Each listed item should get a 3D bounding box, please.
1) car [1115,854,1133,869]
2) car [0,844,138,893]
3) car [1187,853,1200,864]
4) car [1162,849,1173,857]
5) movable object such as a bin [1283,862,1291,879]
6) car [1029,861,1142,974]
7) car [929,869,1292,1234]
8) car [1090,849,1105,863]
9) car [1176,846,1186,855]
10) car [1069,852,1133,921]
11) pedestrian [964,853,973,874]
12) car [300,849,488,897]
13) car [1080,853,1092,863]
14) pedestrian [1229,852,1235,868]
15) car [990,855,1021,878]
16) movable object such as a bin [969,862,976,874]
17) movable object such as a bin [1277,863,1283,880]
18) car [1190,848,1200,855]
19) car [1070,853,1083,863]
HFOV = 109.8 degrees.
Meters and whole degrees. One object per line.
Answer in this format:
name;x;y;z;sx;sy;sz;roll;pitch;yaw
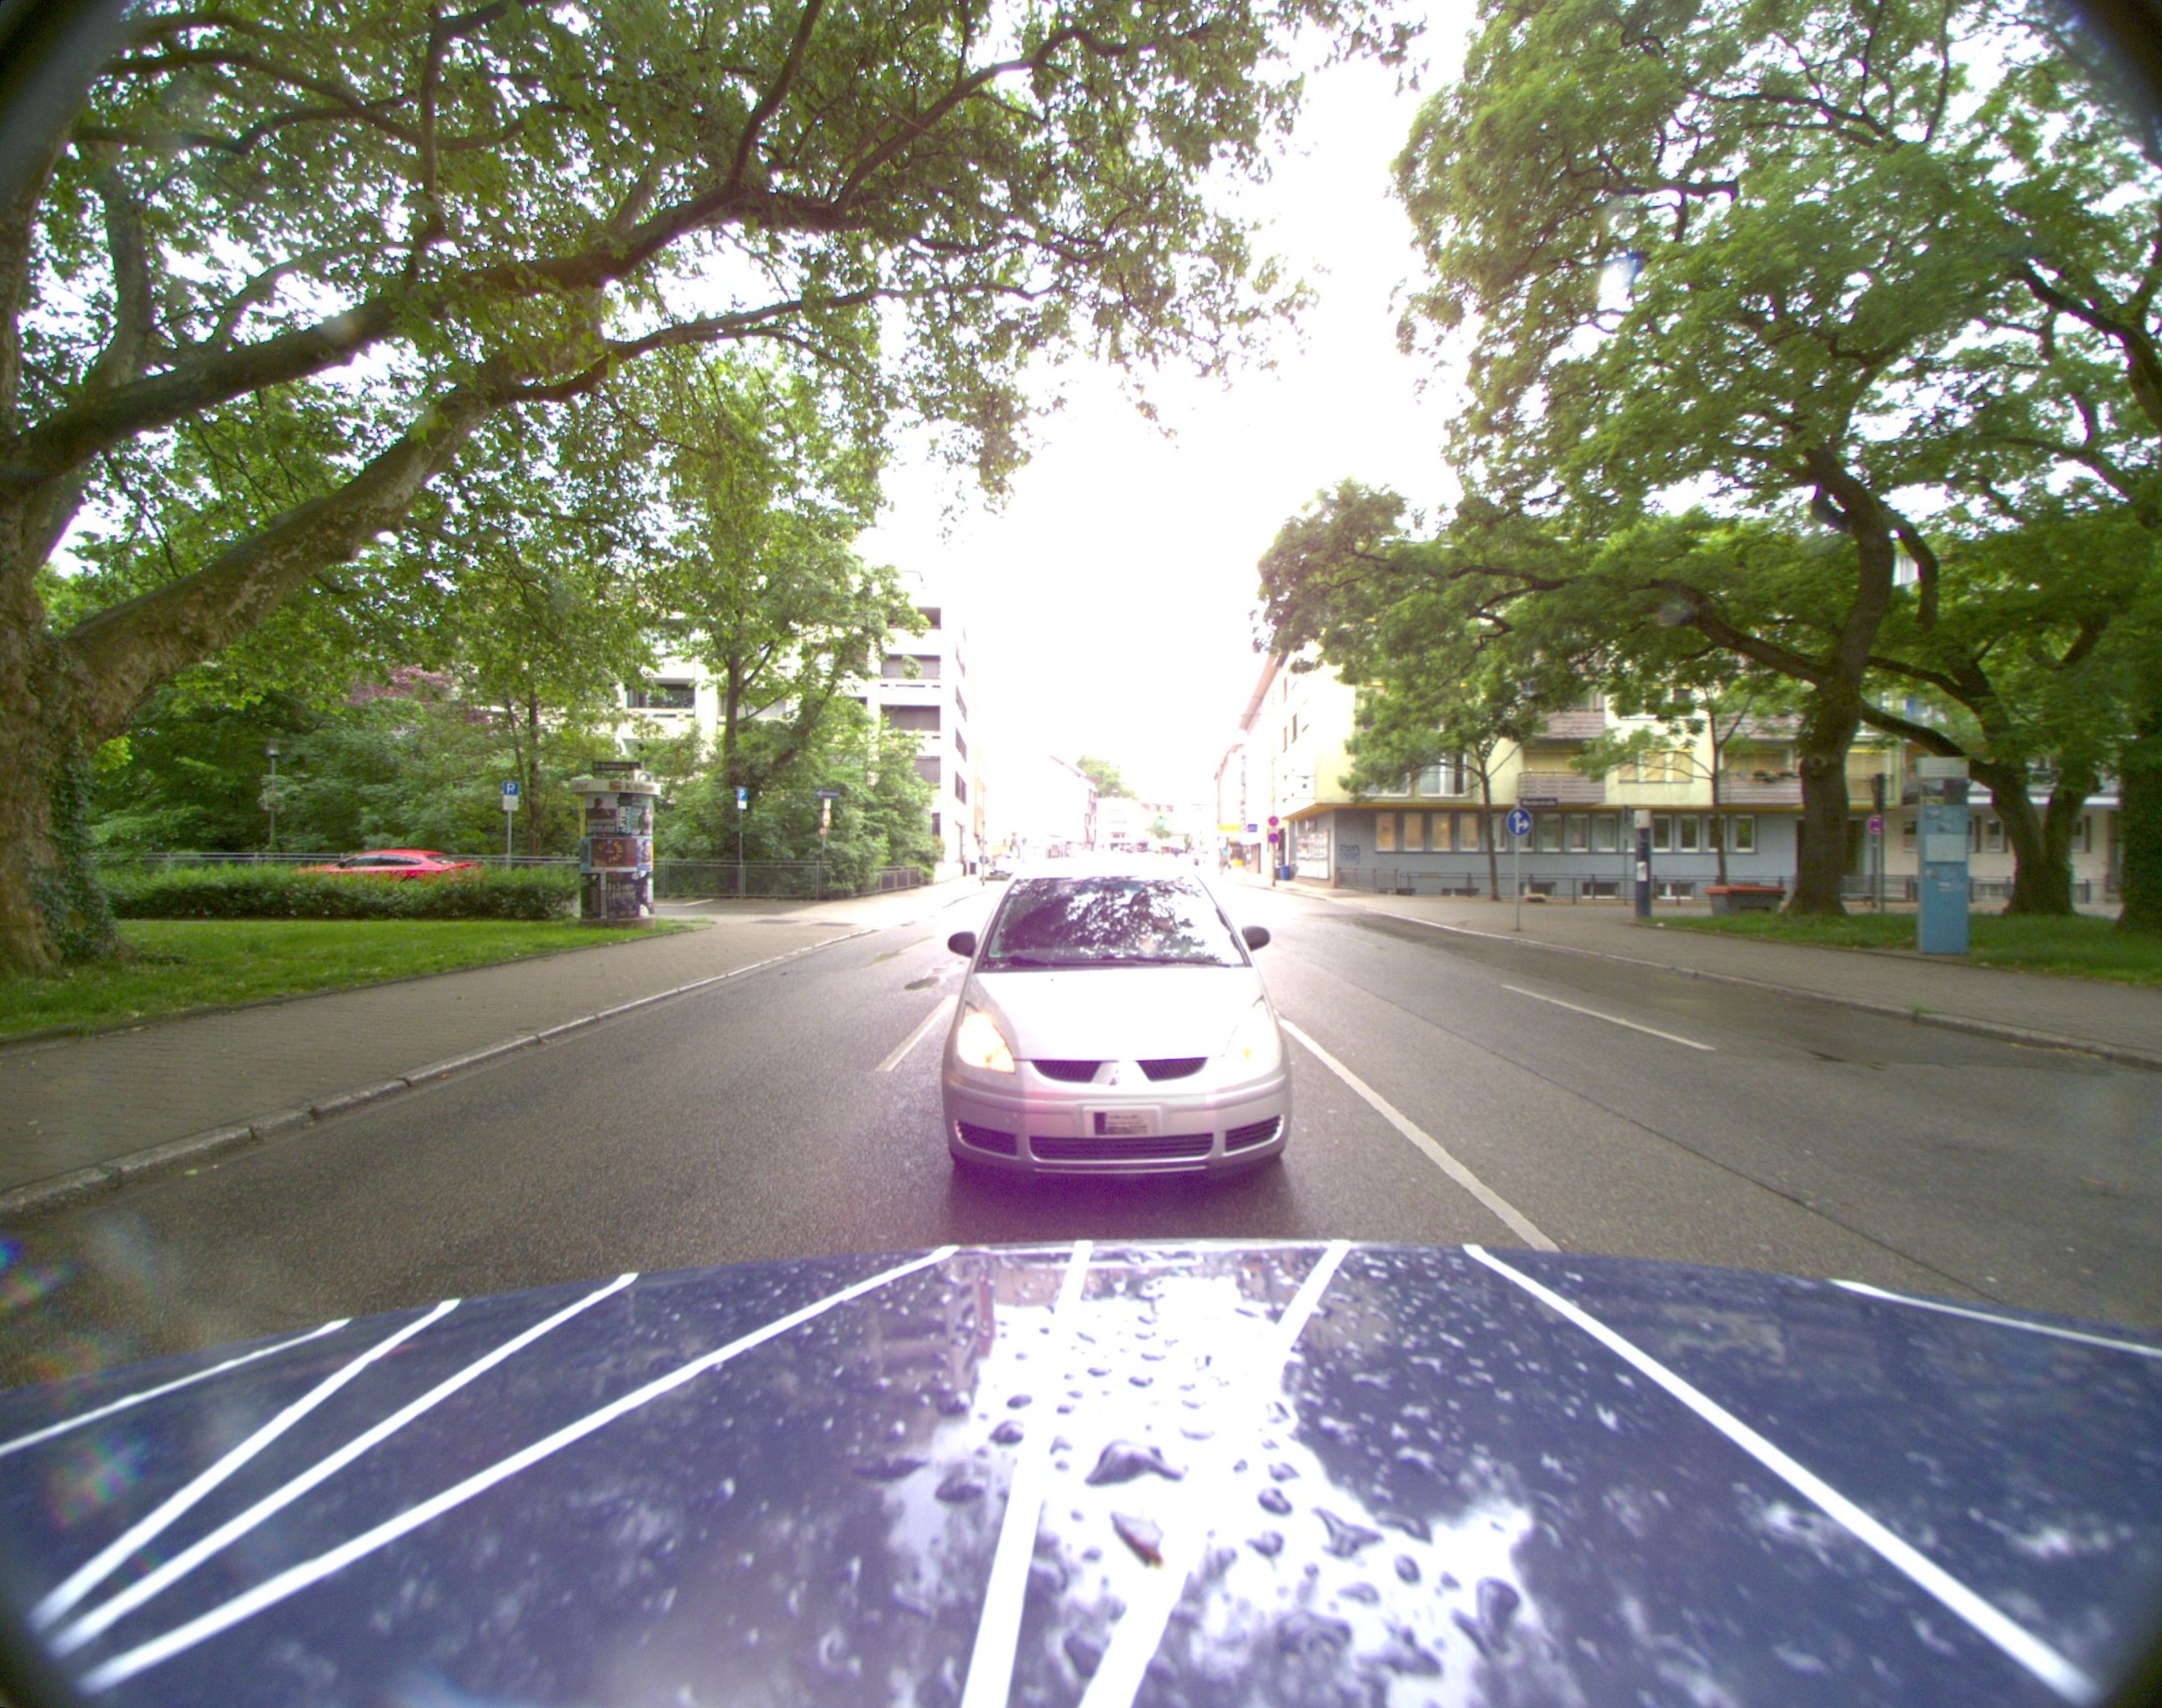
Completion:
car;4.532;0.781;80.601;1.701;1.433;3.897;1;0;1
car;-29.130;0.394;21.260;3.468;1.271;1.448;1;1;-5
car;17.952;0.747;121.421;1.889;1.707;4.001;1;0;4
car;17.925;-0.226;157.870;1.998;1.631;4.001;1;0;4
movable object such as a bin;13.099;1.042;48.301;0.415;1.023;0.353;1;1;8
car;0.139;0.923;12.687;1.590;1.540;3.771;1;0;2
car;0.156;0.914;4.991;1.576;1.514;3.241;-1;0;1
car;2.191;0.224;103.789;1.935;1.817;3.999;-2;1;0
car;21.940;-0.713;166.295;1.998;1.841;4.001;1;0;4
car;0.501;0.818;20.902;1.584;1.705;3.649;1;0;0
pedestrian;-8.067;0.687;54.637;0.480;1.521;0.481;-2;1;1
car;-19.392;0.518;21.570;3.790;1.271;1.576;1;1;-3
car;0.730;0.646;116.474;1.802;1.433;3.897;1;0;1
pedestrian;17.496;0.651;88.072;0.594;1.833;0.565;1;1;8
car;-5.300;0.863;53.522;1.681;1.424;3.681;3;0;1
movable object such as a bin;-8.979;1.168;62.948;0.556;1.035;0.292;1;1;0
movable object such as a bin;12.682;1.113;48.363;0.338;1.023;0.353;1;1;8
car;24.887;-0.536;165.317;1.867;1.648;4.001;1;0;4
car;-0.643;0.520;110.592;1.802;1.433;3.896;1;0;0
